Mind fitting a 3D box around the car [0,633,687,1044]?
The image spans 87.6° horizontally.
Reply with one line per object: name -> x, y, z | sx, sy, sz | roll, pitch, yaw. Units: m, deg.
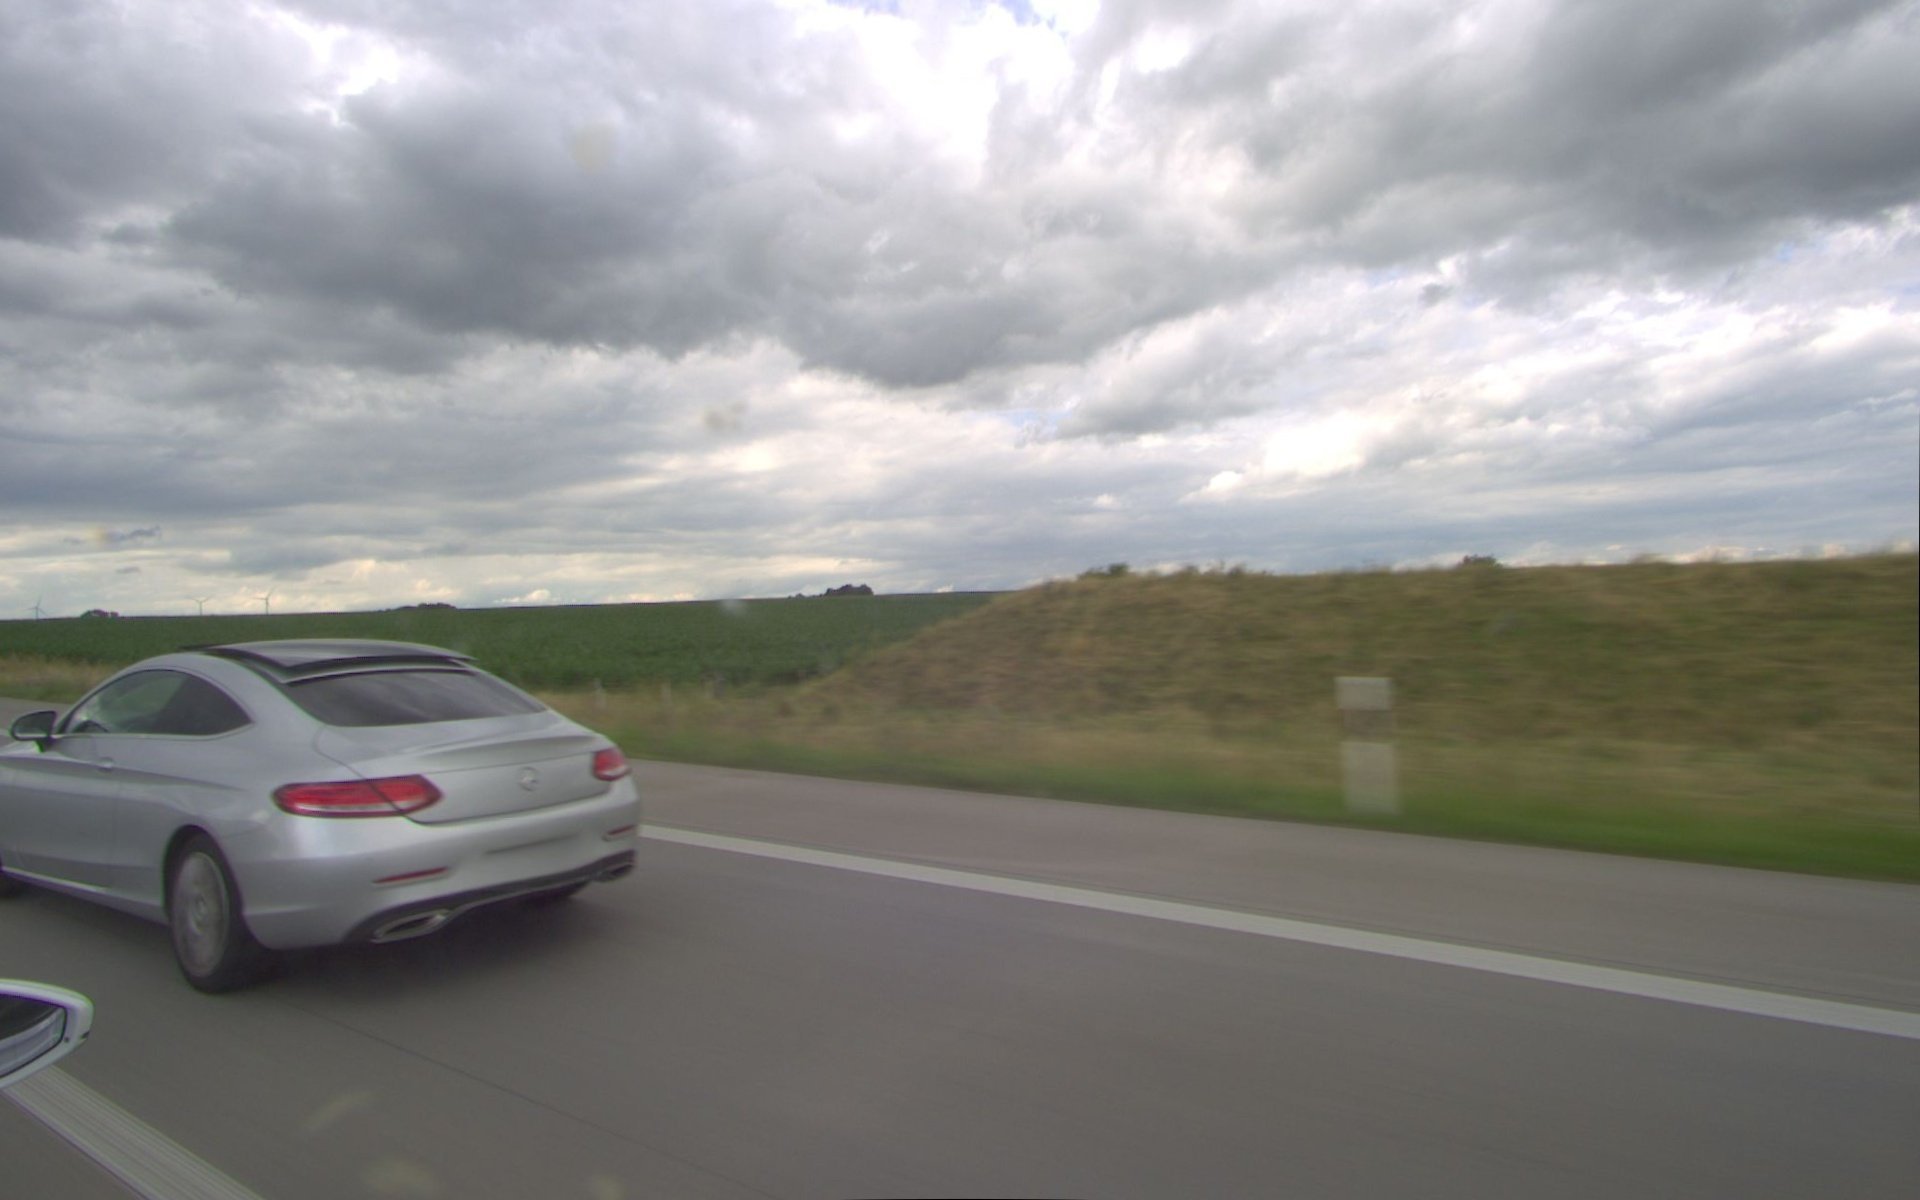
car -> -3.606, 0.904, 5.360 | 4.160, 1.421, 1.786 | -1, -2, 31
